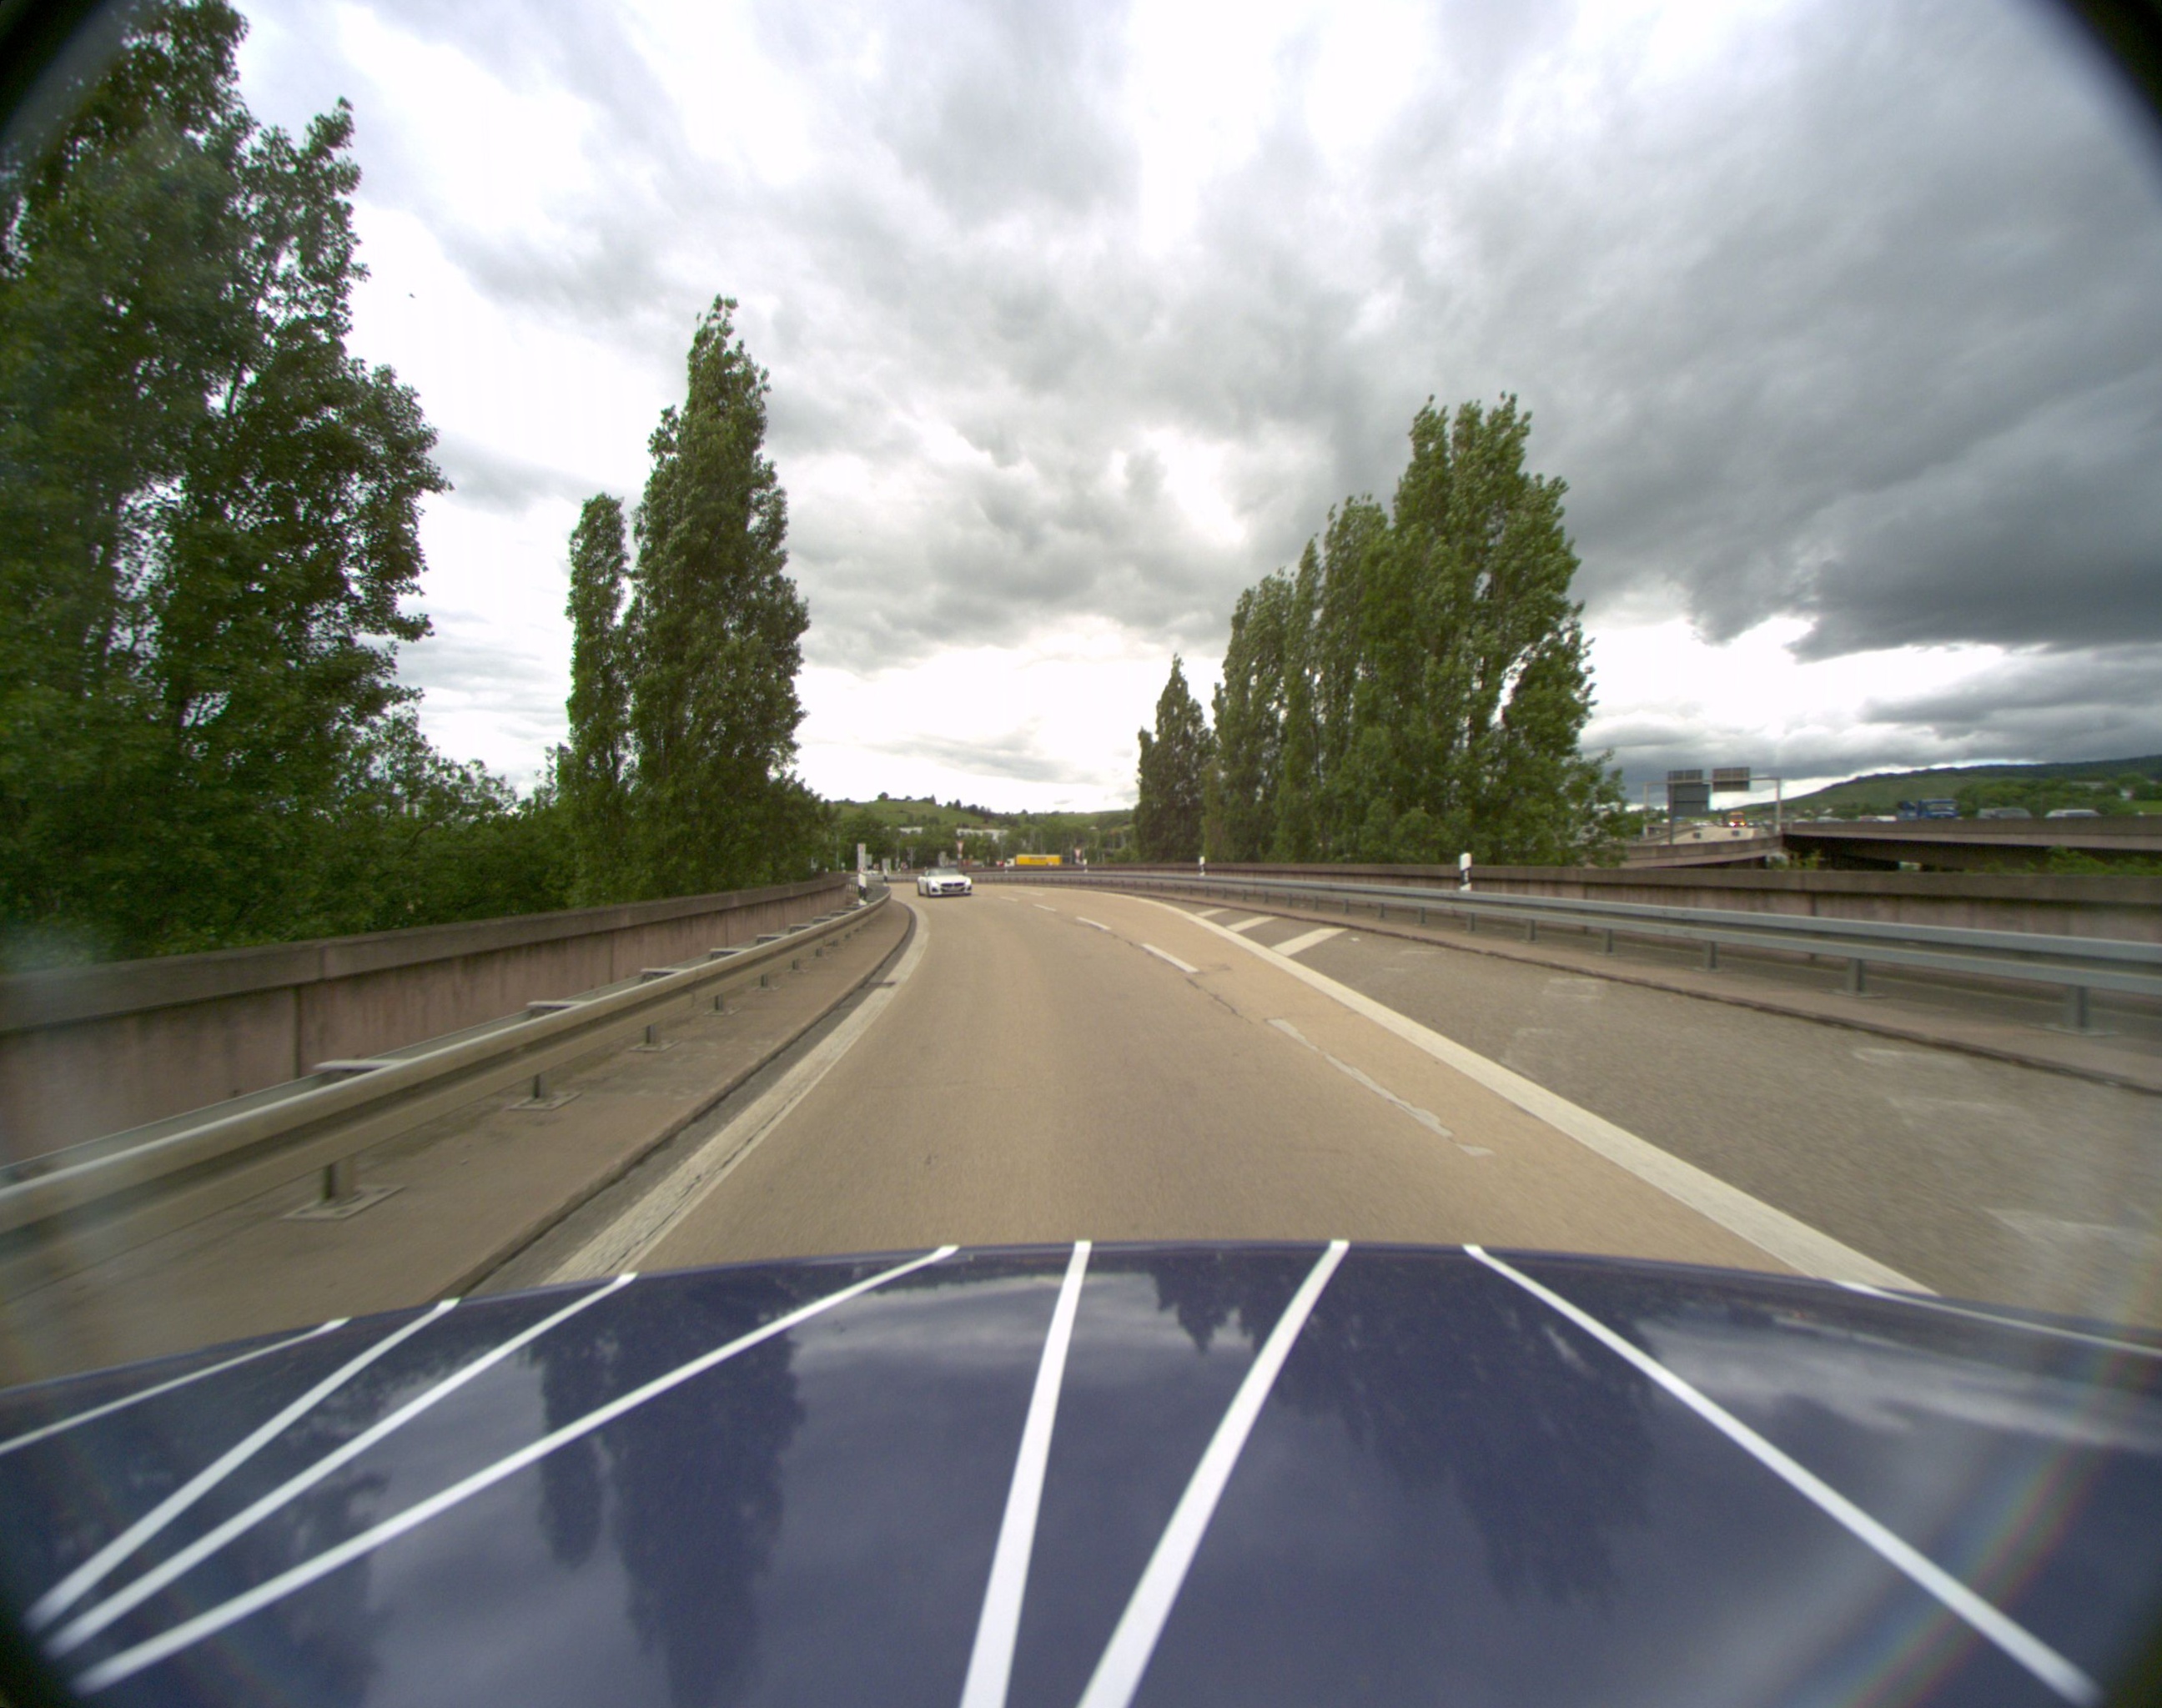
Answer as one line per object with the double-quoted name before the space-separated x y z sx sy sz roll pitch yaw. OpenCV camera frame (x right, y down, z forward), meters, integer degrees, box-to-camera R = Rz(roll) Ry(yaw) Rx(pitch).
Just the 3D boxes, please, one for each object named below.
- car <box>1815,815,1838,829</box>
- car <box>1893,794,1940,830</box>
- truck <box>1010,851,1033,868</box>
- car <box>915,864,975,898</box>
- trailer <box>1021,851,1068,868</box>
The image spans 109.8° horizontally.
"car" 102.961 -4.392 104.981 1.995 1.672 4.008 -3 0 40
"car" 92.412 -4.573 84.106 2.360 3.638 4.808 -4 -1 36
"truck" -15.127 1.354 192.348 5.091 4.180 2.638 0 1 18
"car" -6.162 1.153 34.099 1.865 1.337 4.817 -2 0 -19
"trailer" -9.137 1.400 190.407 11.631 4.180 2.638 0 1 18
